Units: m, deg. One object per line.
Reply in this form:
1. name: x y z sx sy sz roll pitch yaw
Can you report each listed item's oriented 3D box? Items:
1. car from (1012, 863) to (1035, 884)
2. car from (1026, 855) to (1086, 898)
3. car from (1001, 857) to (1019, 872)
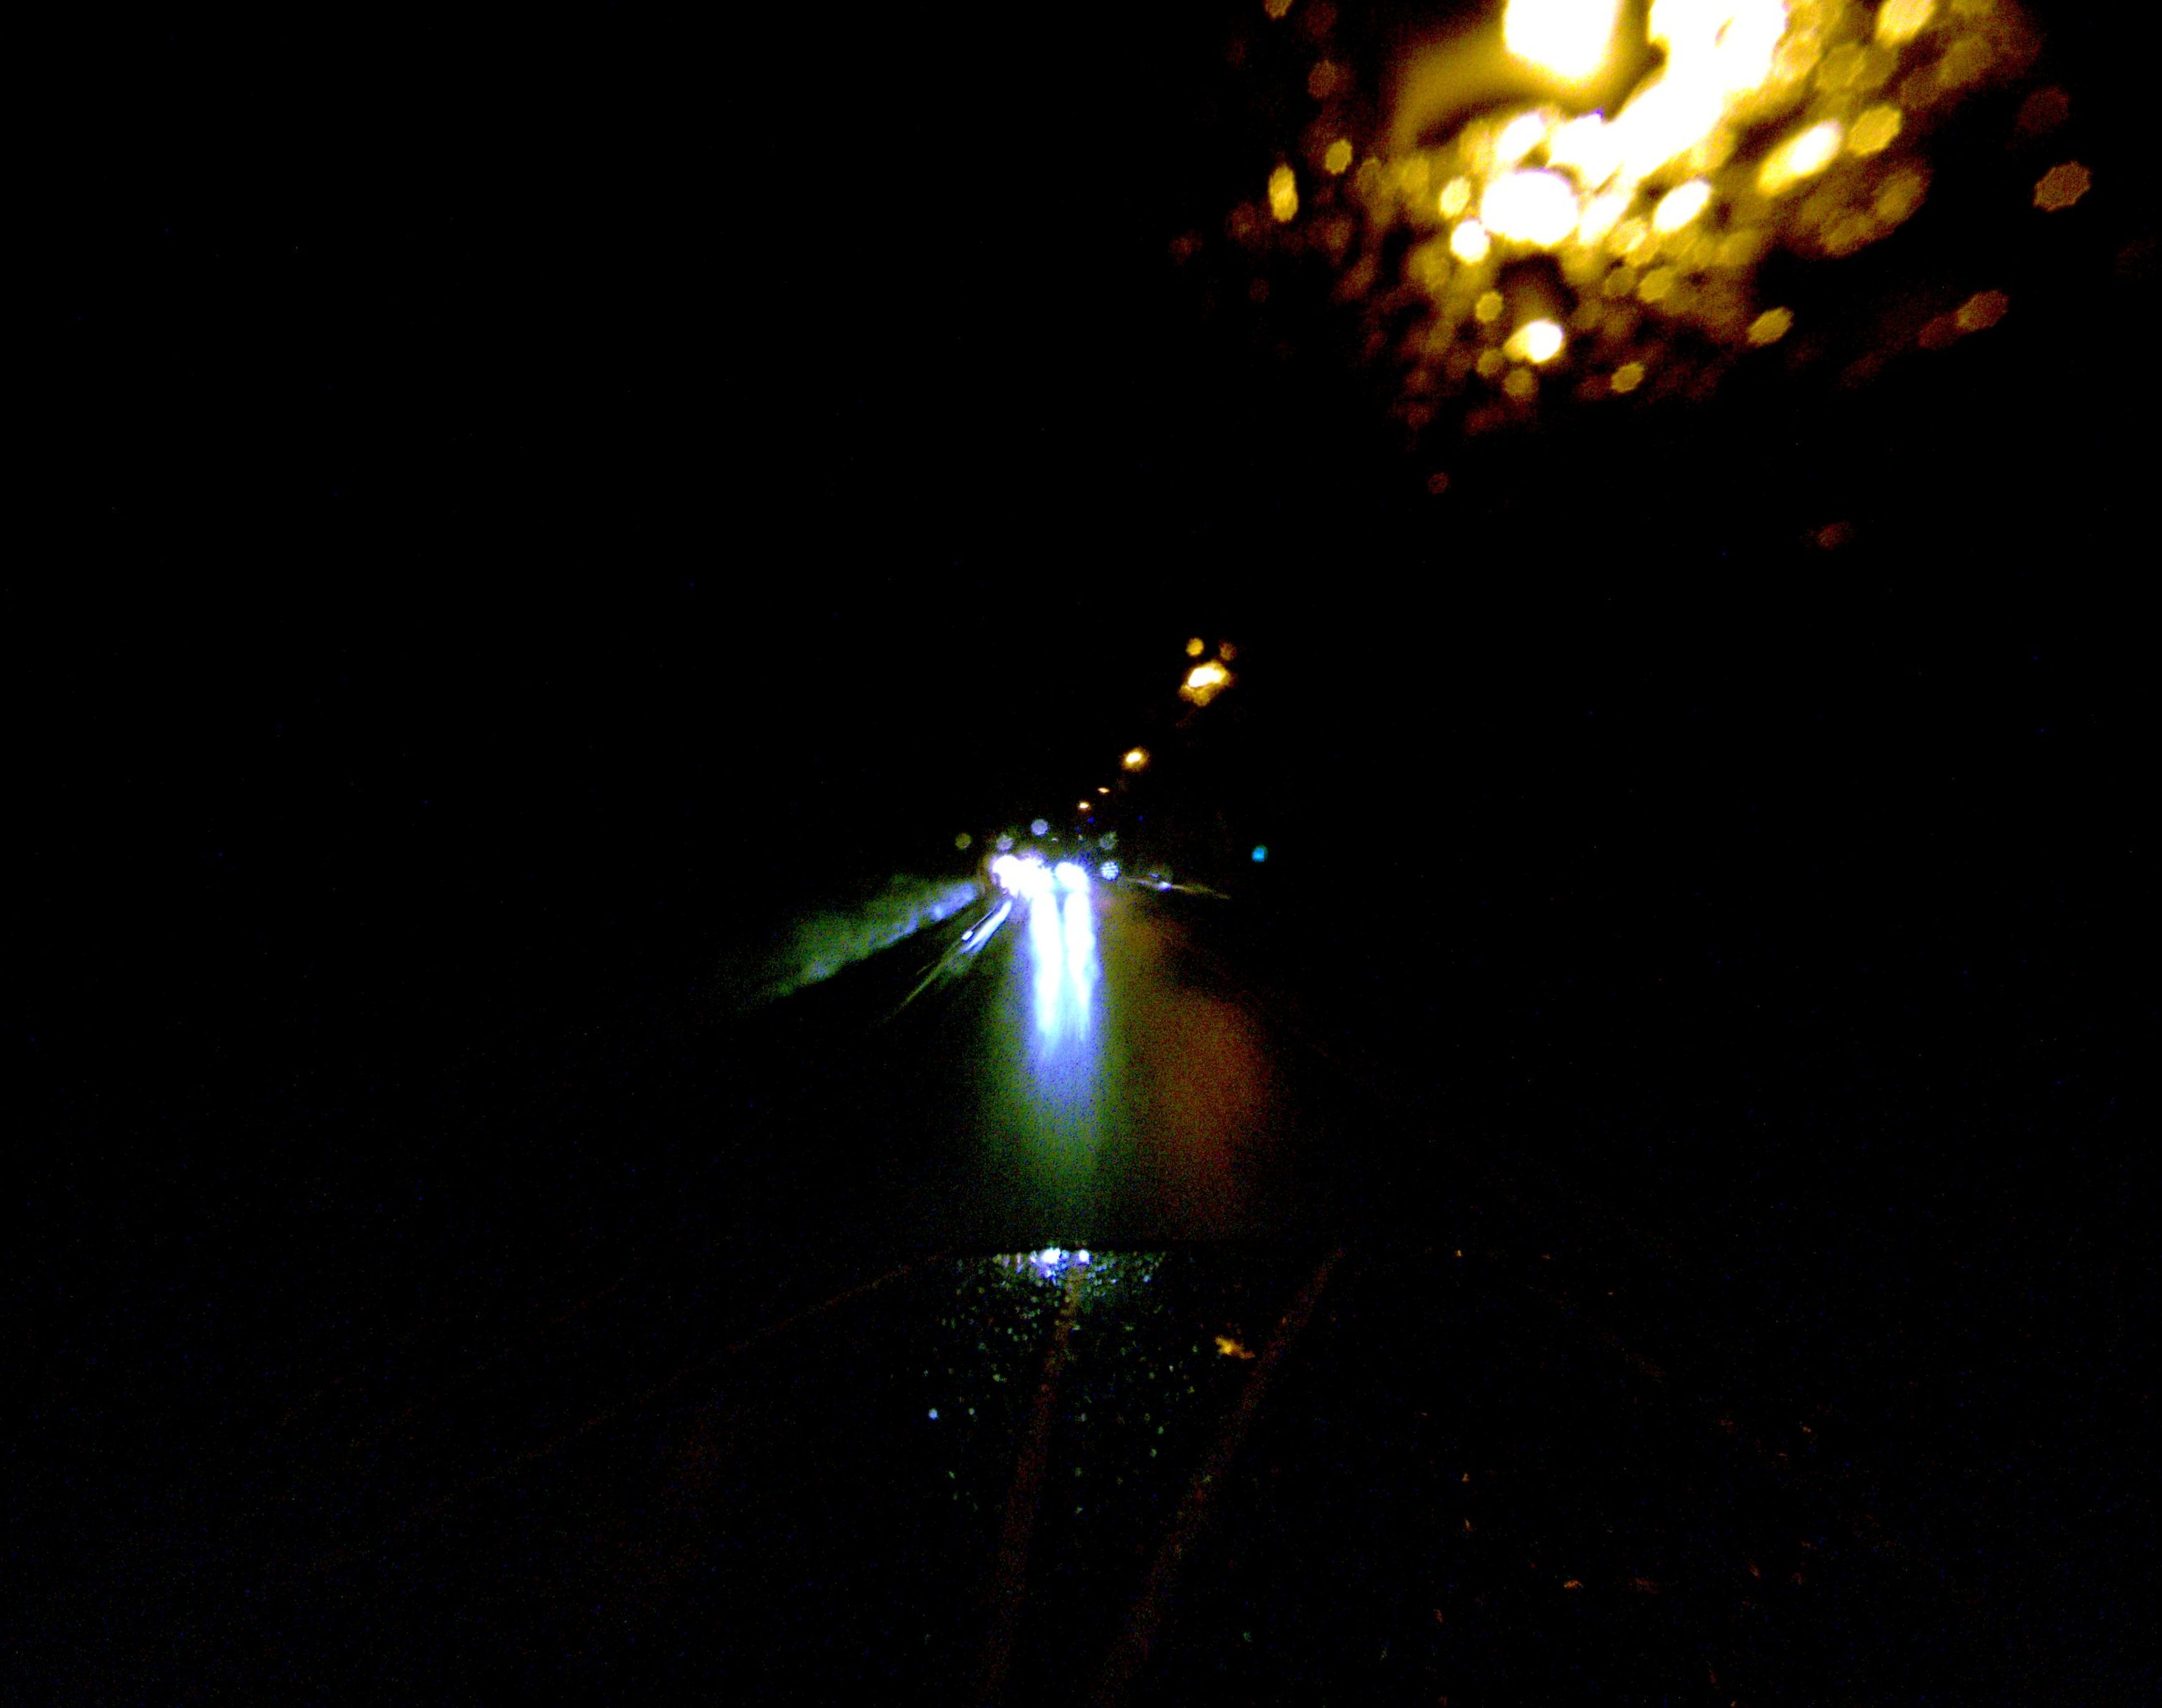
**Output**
1. car: -5.972 2.010 79.060 1.901 2.002 3.996 -1 1 -11
2. car: -1.247 1.001 35.566 2.001 1.585 4.602 4 2 -11
3. car: -9.163 1.356 97.994 1.710 1.761 3.994 -1 1 -15
